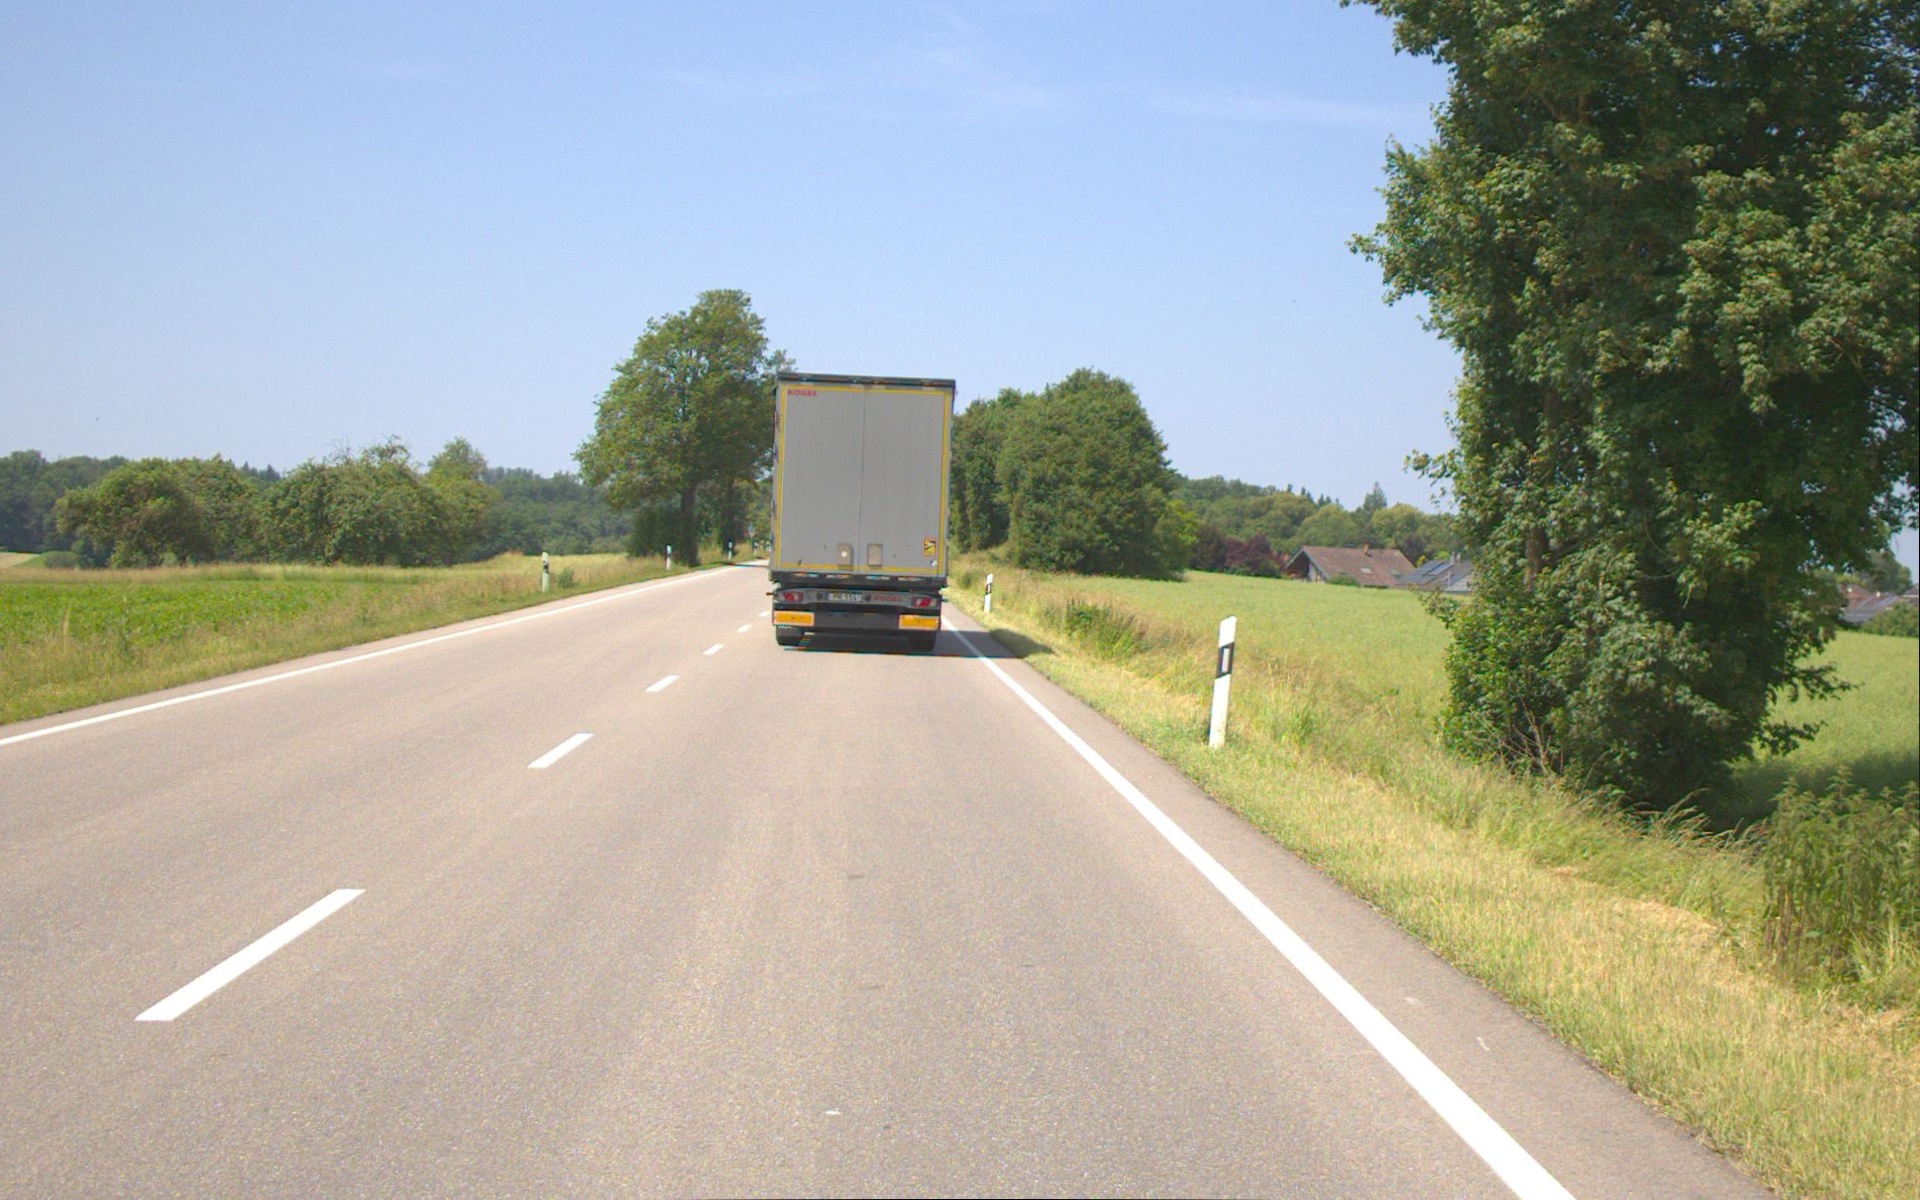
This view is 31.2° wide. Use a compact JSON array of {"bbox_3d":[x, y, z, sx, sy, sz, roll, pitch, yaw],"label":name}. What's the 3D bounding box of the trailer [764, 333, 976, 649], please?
[{"bbox_3d":[-1.642,-1.683,55.603,2.866,4.385,13.495,2,1,-3],"label":"trailer"}]
